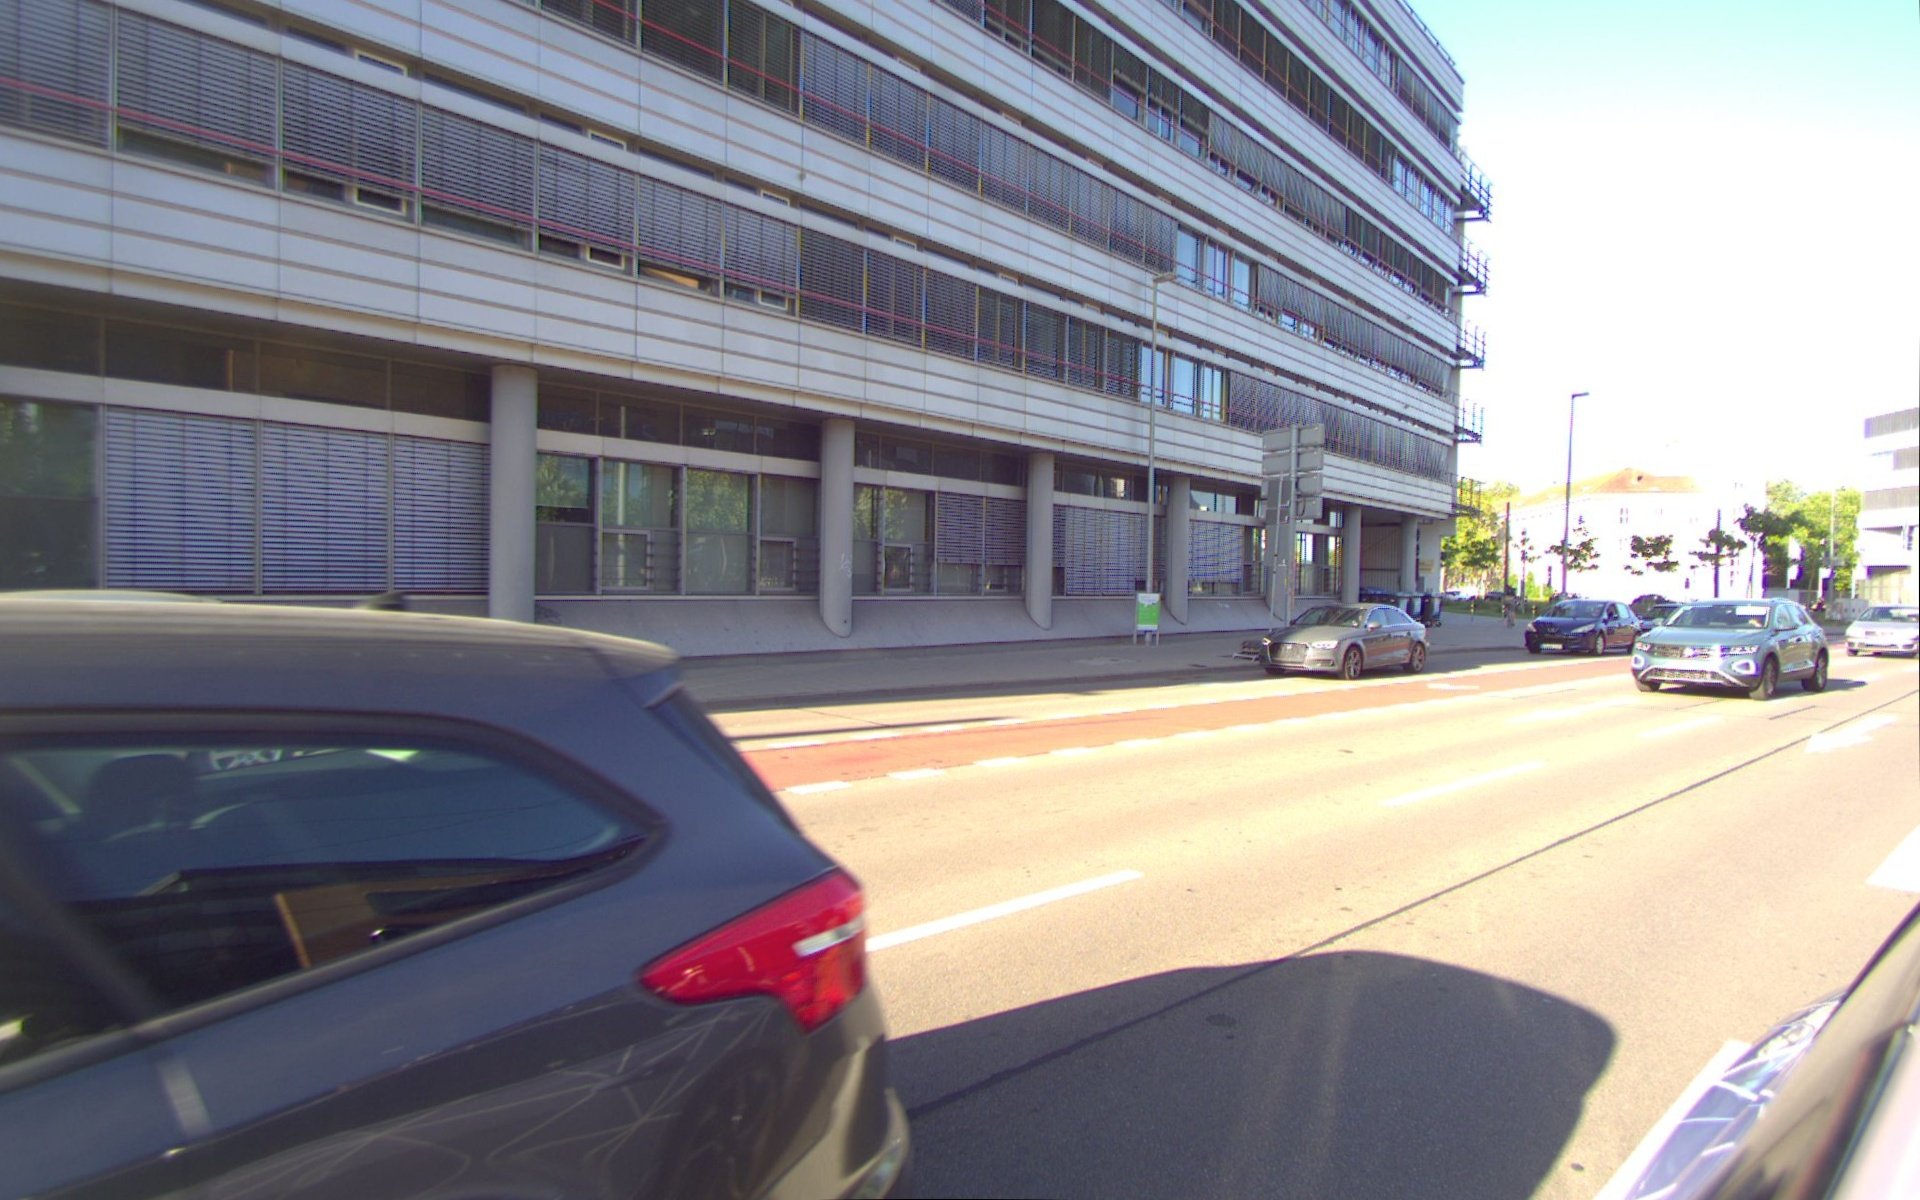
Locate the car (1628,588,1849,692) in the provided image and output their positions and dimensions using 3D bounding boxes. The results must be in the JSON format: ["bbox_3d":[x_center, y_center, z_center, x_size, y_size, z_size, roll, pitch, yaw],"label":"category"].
[{"bbox_3d":[12.814,0.591,16.612,3.805,1.524,1.751,0,0,-34],"label":"car"}]

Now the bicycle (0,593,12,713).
[{"bbox_3d":[-9.588,0.525,8.612,0.499,1.044,2.173,7,7,42],"label":"bicycle"}]

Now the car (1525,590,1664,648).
[{"bbox_3d":[17.183,0.513,27.367,3.922,1.464,1.738,1,-1,-33],"label":"car"}]

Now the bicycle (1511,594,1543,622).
[{"bbox_3d":[22.926,0.319,40.888,1.672,1.070,0.505,-1,4,-40],"label":"bicycle"}]

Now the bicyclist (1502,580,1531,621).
[{"bbox_3d":[22.638,0.021,41.137,0.973,1.638,0.685,0,1,-39],"label":"bicyclist"}]

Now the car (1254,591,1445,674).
[{"bbox_3d":[7.664,0.595,19.762,4.037,1.460,1.713,0,-2,-40],"label":"car"}]

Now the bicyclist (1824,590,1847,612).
[{"bbox_3d":[64.901,0.058,75.035,0.862,1.627,1.009,0,1,-27],"label":"bicyclist"}]

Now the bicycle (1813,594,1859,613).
[{"bbox_3d":[64.894,0.219,75.015,0.932,1.328,2.376,0,1,-27],"label":"bicycle"}]

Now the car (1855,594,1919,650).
[{"bbox_3d":[26.371,0.577,27.954,3.695,1.447,1.622,0,0,-34],"label":"car"}]

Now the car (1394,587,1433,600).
[{"bbox_3d":[51.906,-0.750,115.897,1.894,1.393,4.009,0,1,-14],"label":"car"}]

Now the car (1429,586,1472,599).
[{"bbox_3d":[53.040,-0.808,109.532,1.958,1.259,4.009,0,1,-19],"label":"car"}]

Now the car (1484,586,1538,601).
[{"bbox_3d":[55.721,-0.655,102.499,1.958,1.439,4.535,0,1,-24],"label":"car"}]

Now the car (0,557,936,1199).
[{"bbox_3d":[-2.113,0.665,0.781,4.082,1.451,1.688,0,1,-42],"label":"car"}]

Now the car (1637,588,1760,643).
[{"bbox_3d":[23.087,0.494,31.616,3.918,1.463,1.443,3,2,-28],"label":"car"}]

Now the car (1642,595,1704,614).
[{"bbox_3d":[62.033,0.376,88.094,1.958,1.439,4.009,0,1,-21],"label":"car"}]

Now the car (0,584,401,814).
[{"bbox_3d":[-6.684,0.627,7.255,4.412,1.449,1.753,0,2,-42],"label":"car"}]
